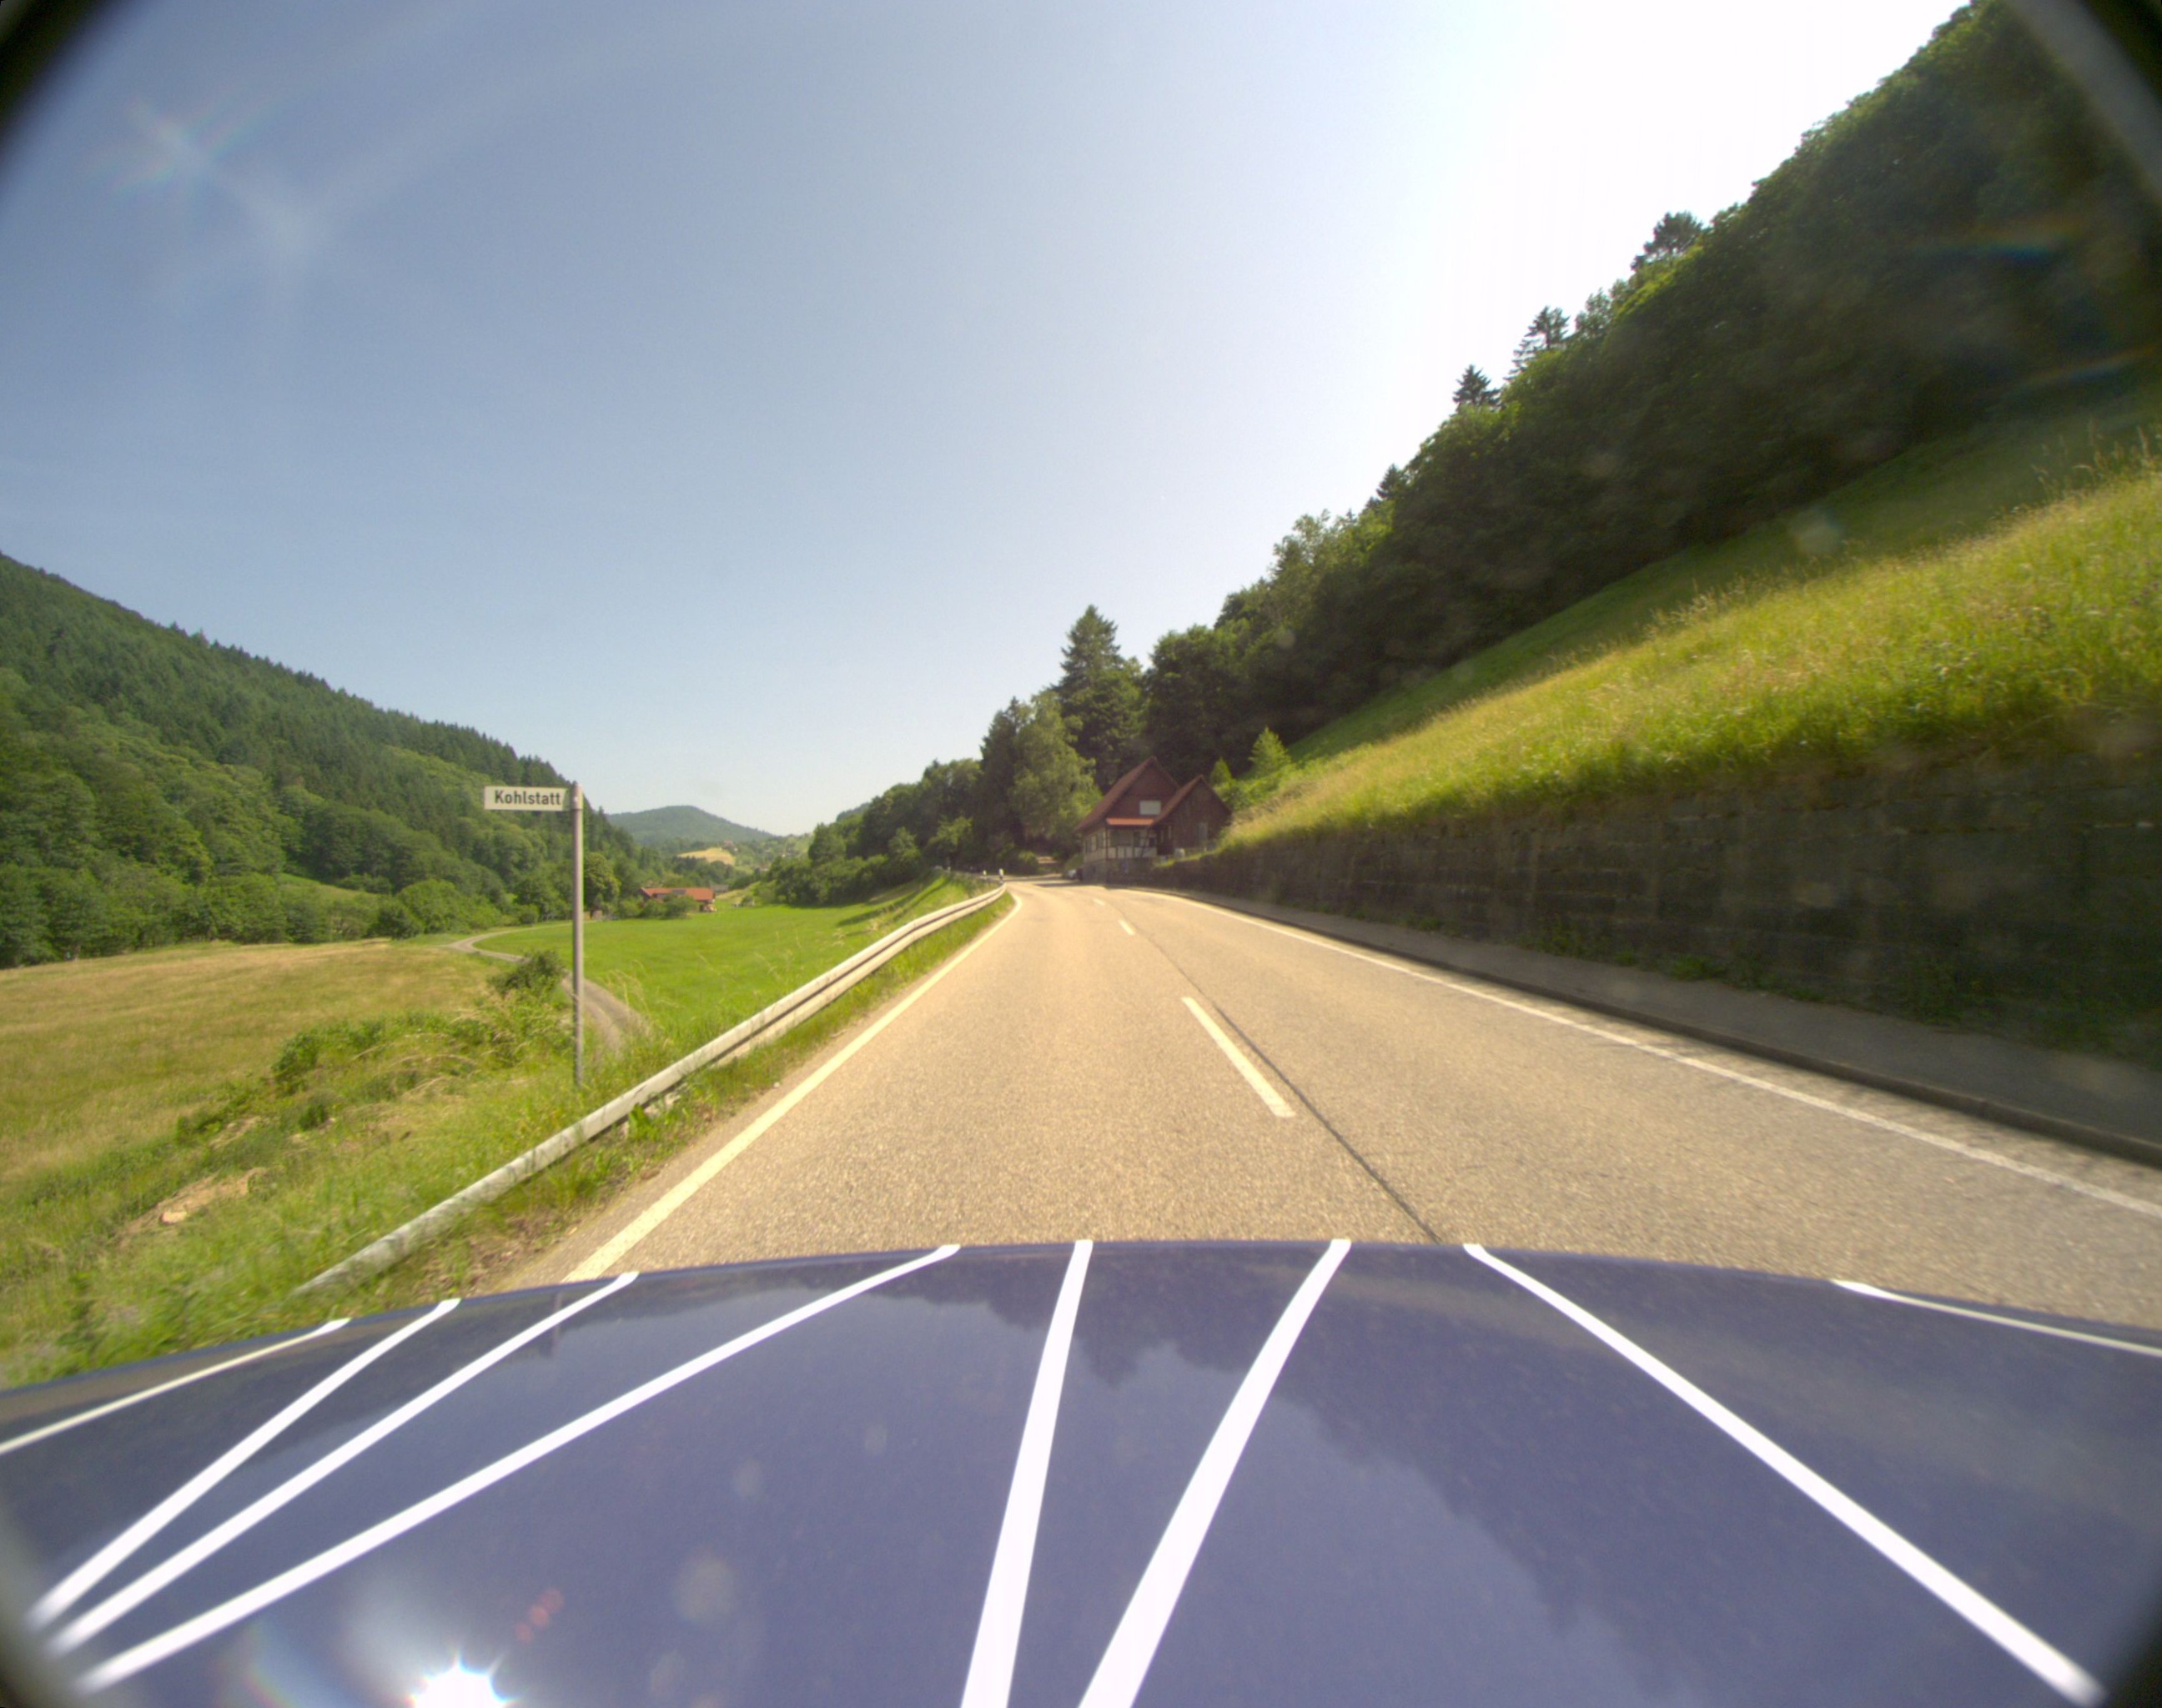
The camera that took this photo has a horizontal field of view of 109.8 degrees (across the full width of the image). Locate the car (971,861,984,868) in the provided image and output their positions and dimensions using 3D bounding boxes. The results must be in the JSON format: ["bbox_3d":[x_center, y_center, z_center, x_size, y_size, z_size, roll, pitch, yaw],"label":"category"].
[{"bbox_3d":[-20.911,2.090,153.008,1.772,1.388,4.138,-3,1,-18],"label":"car"}]

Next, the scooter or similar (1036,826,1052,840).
[{"bbox_3d":[-6.068,-3.371,124.624,1.984,2.015,4.402,-6,1,-7],"label":"scooter or similar"}]

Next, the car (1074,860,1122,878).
[{"bbox_3d":[1.494,1.306,66.550,3.831,1.424,1.861,0,1,-14],"label":"car"}]

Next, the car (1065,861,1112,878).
[{"bbox_3d":[0.686,1.374,69.058,3.830,1.408,1.855,-2,-1,-15],"label":"car"}]
